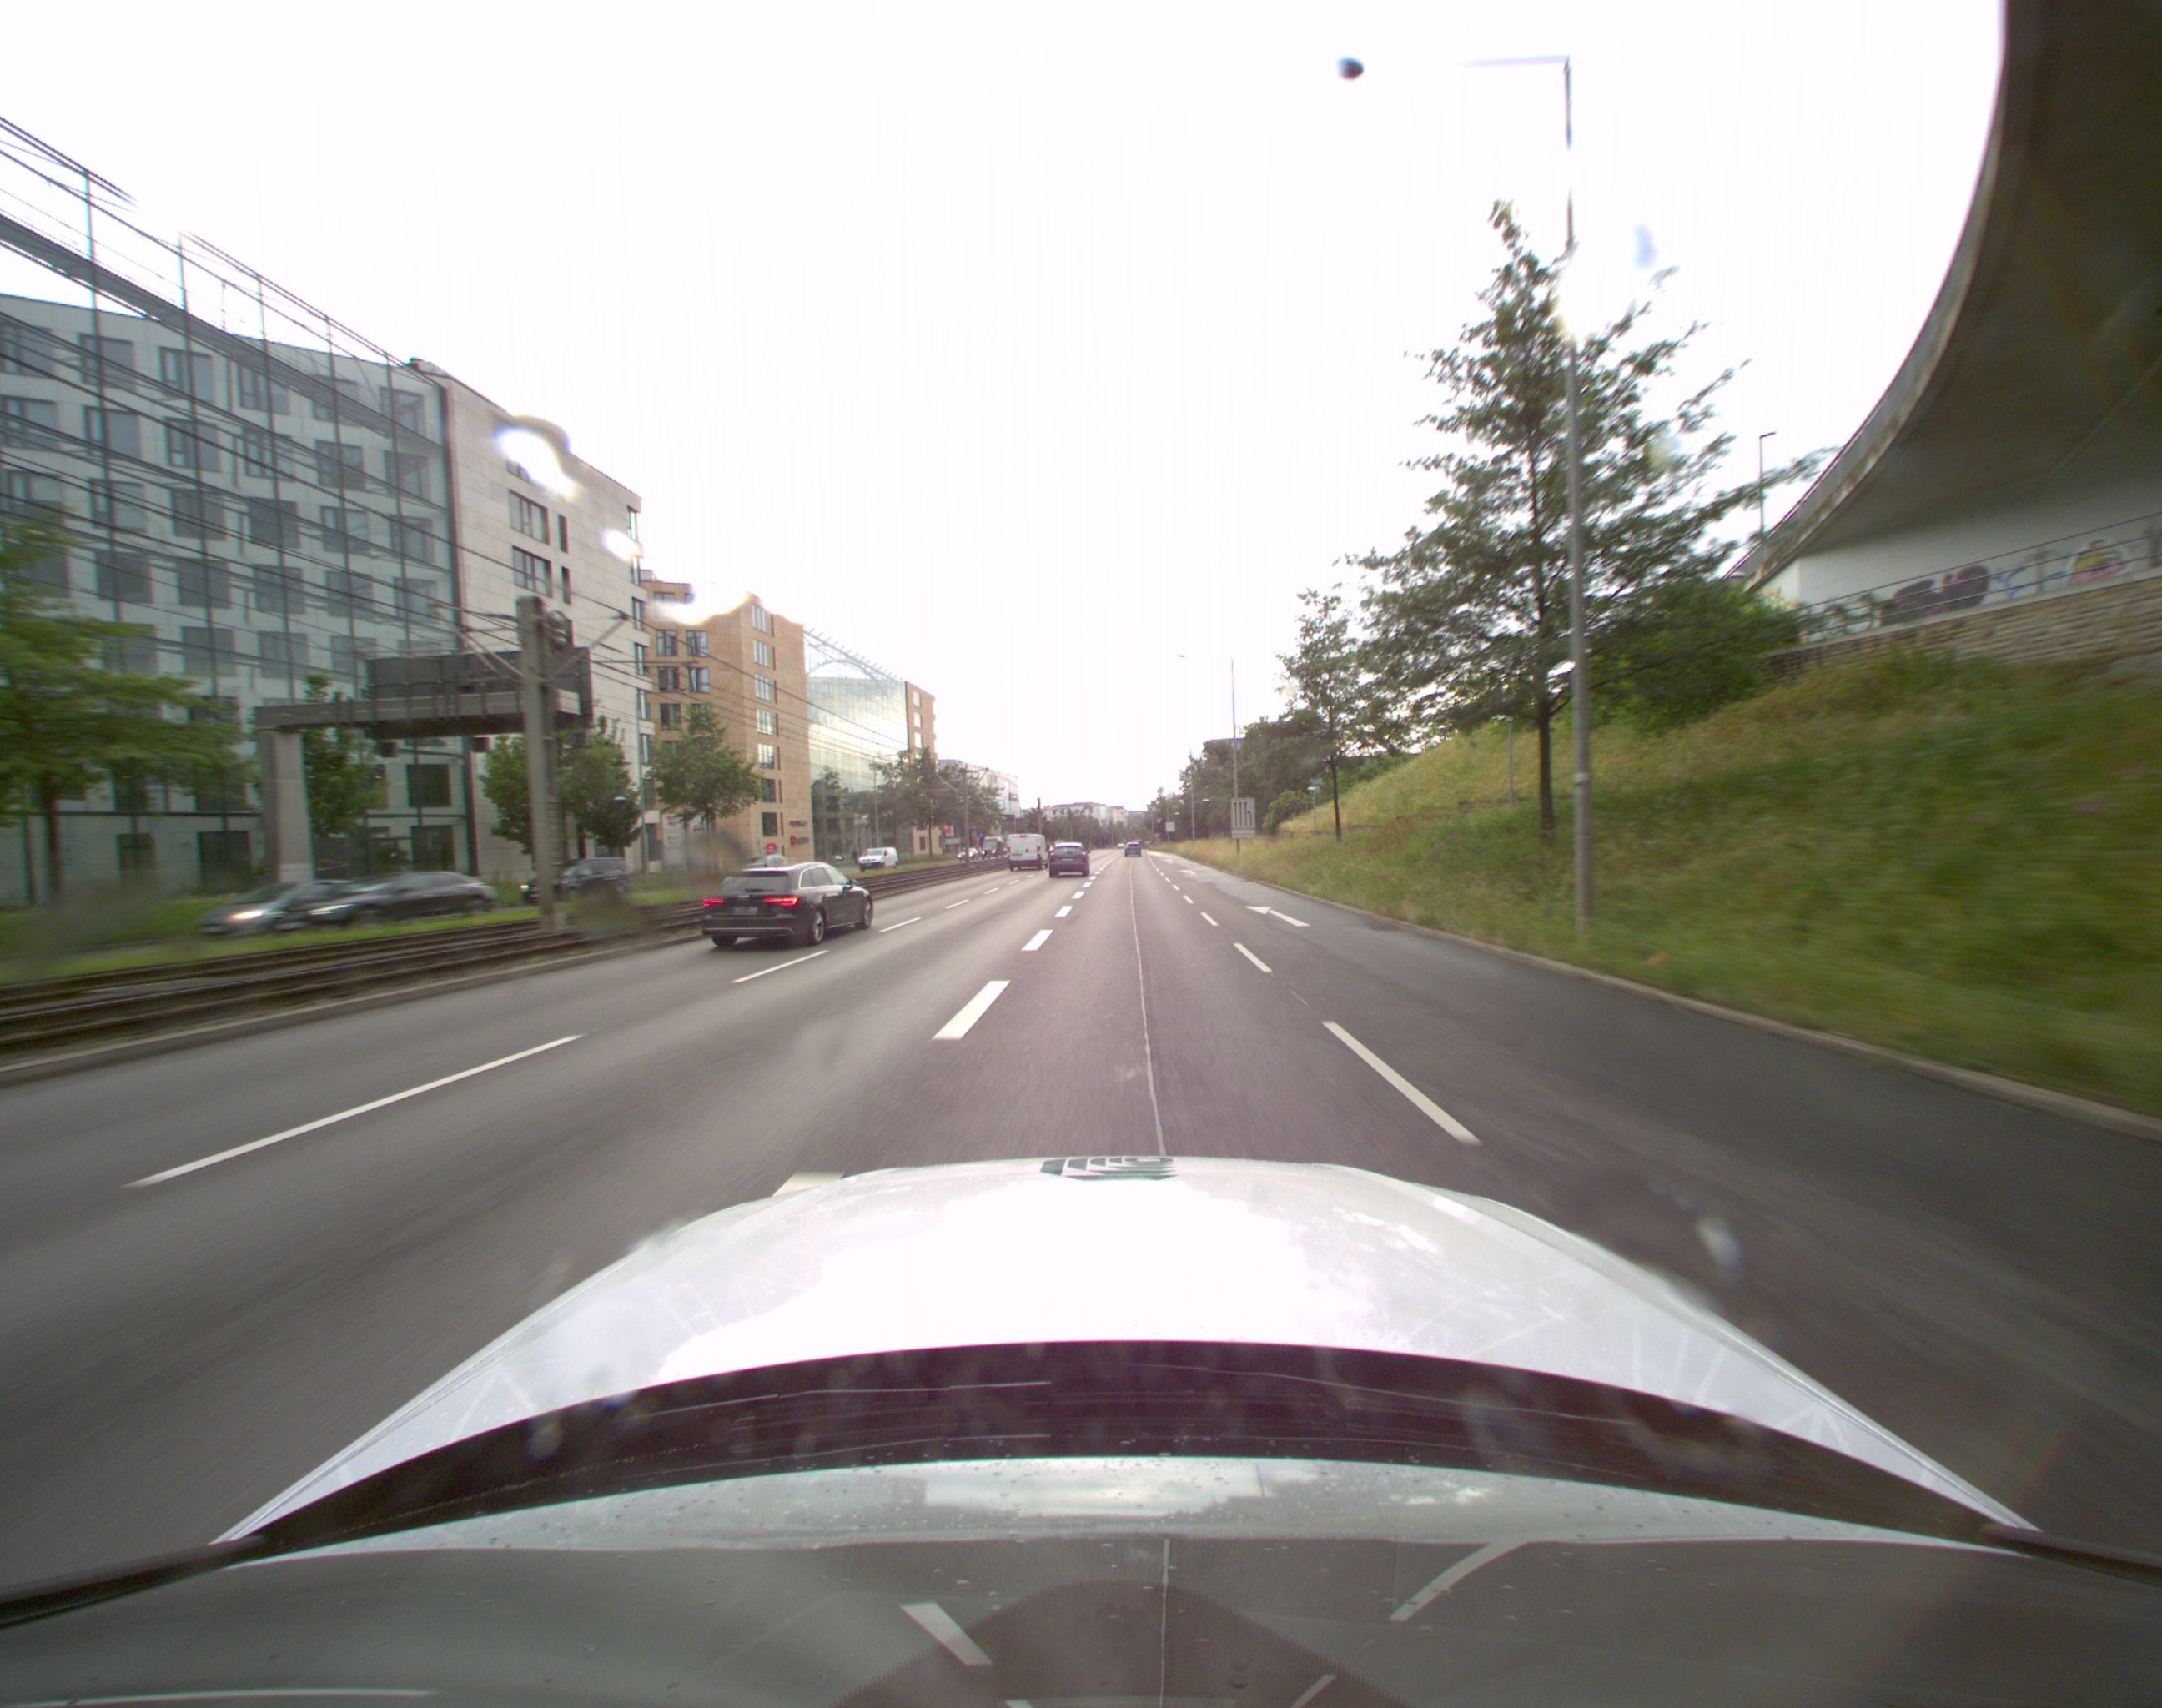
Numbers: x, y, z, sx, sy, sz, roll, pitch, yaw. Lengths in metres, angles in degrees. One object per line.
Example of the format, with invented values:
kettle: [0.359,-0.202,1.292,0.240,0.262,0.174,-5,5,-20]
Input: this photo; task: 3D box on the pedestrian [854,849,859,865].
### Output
pedestrian: [-24.894,0.358,90.200,0.422,1.827,0.477,-1,-1,1]

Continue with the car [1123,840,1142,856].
car: [5.436,-0.635,86.801,1.783,1.591,4.001,-3,0,1]

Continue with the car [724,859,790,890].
car: [-18.799,1.174,47.492,1.801,1.606,4.496,-1,1,4]

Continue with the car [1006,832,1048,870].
car: [-3.393,-0.201,52.098,2.260,2.284,4.761,-1,1,1]

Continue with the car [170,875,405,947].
car: [-20.680,1.424,21.527,1.801,1.533,4.280,-1,1,4]

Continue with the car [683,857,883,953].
car: [-5.313,0.821,15.310,1.778,1.413,4.809,-1,1,3]

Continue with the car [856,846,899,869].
car: [-16.707,0.280,67.074,1.929,1.761,5.068,-1,1,4]

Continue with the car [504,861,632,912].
car: [-22.320,1.336,35.714,2.049,1.952,5.139,-1,1,4]

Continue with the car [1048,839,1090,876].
car: [-0.548,0.198,40.578,1.916,1.710,4.098,-1,-1,1]

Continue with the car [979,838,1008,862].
car: [-10.599,-0.504,99.061,2.372,2.817,5.620,-1,1,5]

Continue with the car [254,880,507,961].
car: [-17.013,1.529,20.219,1.801,1.533,4.875,-1,1,4]

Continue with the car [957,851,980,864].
car: [-13.878,0.414,100.695,1.752,1.533,4.823,-1,1,4]
